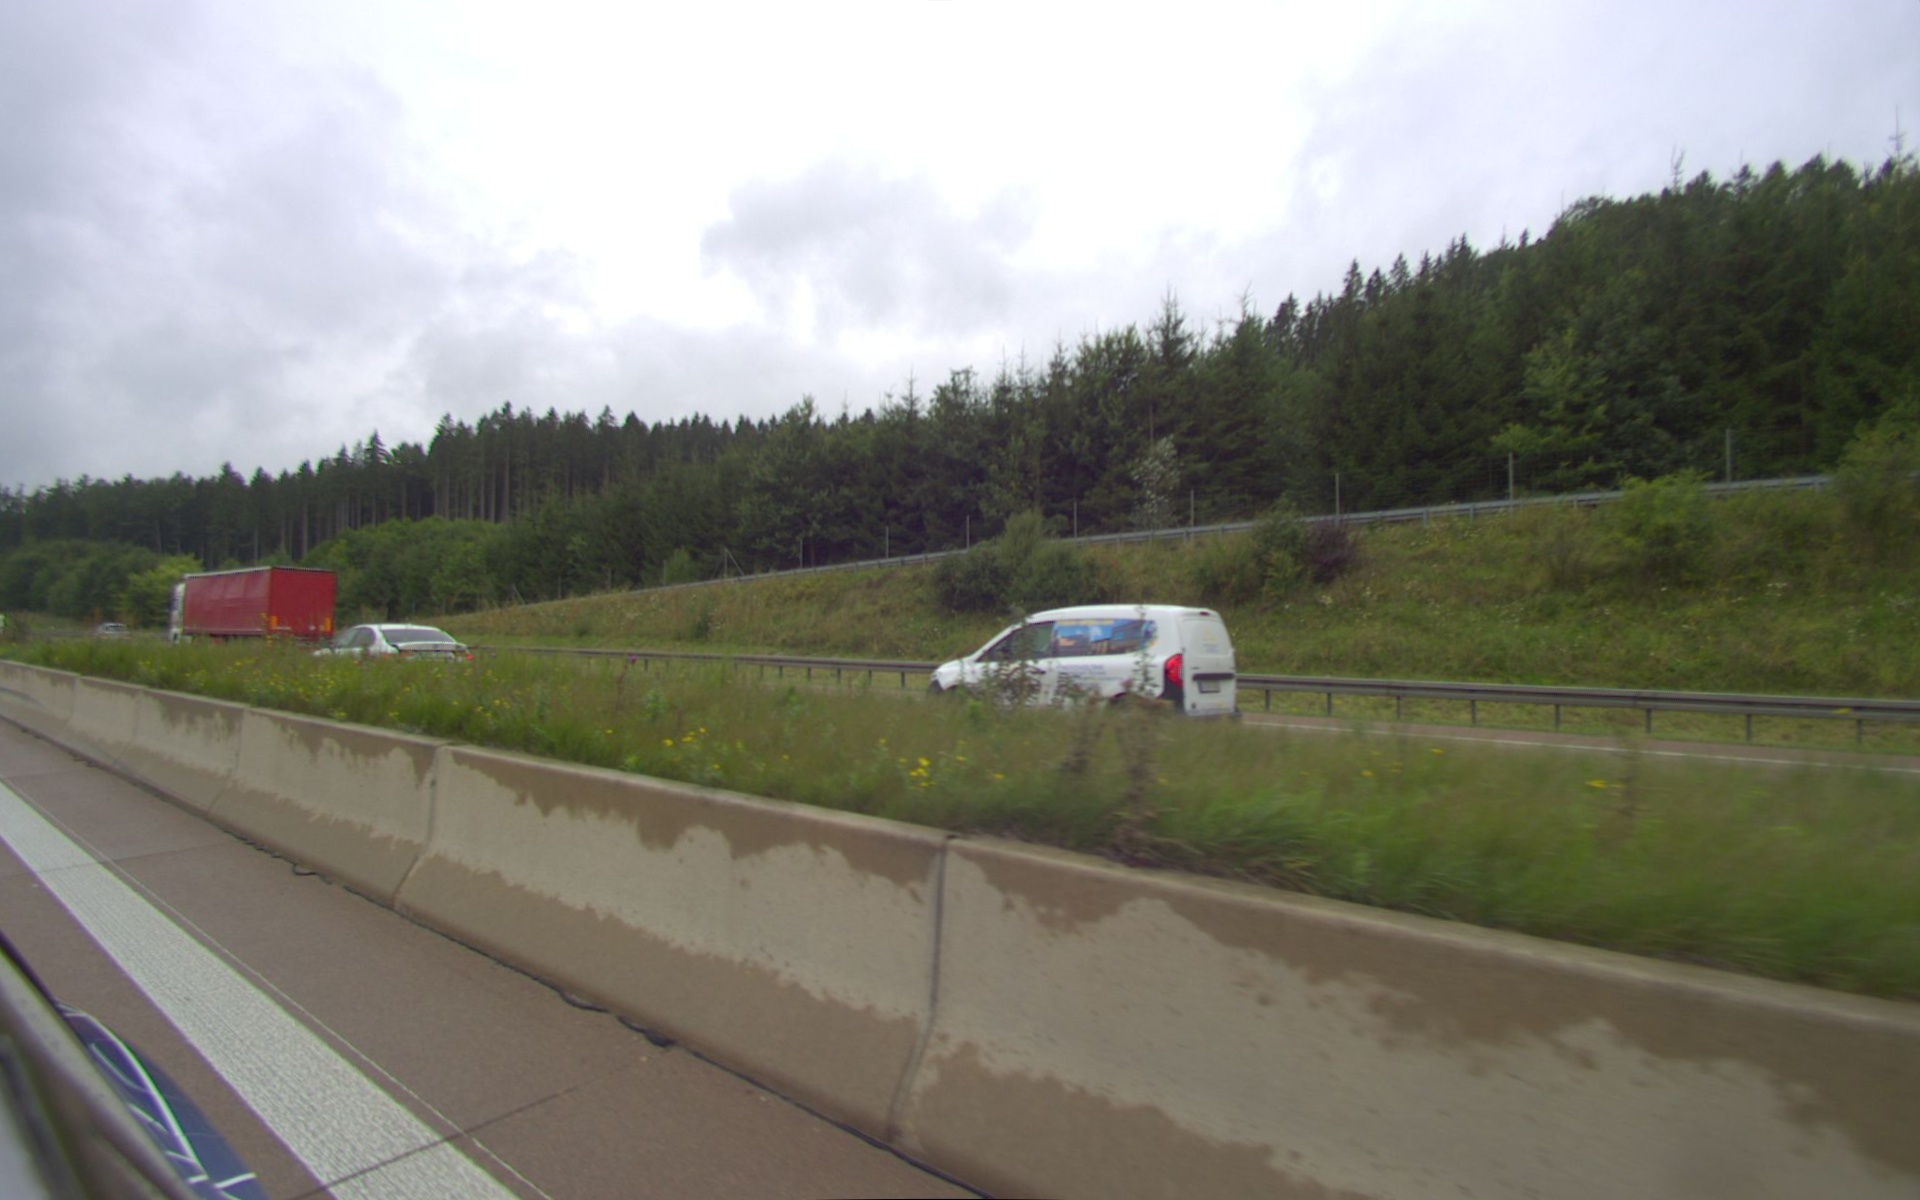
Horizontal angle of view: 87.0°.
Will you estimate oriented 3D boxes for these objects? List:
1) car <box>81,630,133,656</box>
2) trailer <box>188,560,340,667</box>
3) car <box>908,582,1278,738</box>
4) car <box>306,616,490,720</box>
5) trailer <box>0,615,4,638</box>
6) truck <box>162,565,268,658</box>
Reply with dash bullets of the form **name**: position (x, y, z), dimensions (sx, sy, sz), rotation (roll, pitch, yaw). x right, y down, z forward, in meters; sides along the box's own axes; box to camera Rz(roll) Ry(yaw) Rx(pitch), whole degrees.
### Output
- **car**: position (-58.190, 2.894, 69.037), dimensions (4.521, 1.587, 1.973), rotation (0, -1, 40)
- **trailer**: position (-33.043, 0.536, 47.750), dimensions (11.767, 4.522, 2.911), rotation (0, 1, 40)
- **car**: position (1.608, 0.650, 13.519), dimensions (4.760, 1.734, 1.715), rotation (0, 1, 41)
- **car**: position (-10.790, 1.191, 19.298), dimensions (4.443, 1.659, 1.660), rotation (0, 1, 41)
- **trailer**: position (-105.002, 2.811, 109.021), dimensions (5.432, 2.430, 2.254), rotation (-2, -4, 40)
- **truck**: position (-38.853, 0.525, 52.715), dimensions (6.787, 4.511, 2.920), rotation (0, 1, 40)
